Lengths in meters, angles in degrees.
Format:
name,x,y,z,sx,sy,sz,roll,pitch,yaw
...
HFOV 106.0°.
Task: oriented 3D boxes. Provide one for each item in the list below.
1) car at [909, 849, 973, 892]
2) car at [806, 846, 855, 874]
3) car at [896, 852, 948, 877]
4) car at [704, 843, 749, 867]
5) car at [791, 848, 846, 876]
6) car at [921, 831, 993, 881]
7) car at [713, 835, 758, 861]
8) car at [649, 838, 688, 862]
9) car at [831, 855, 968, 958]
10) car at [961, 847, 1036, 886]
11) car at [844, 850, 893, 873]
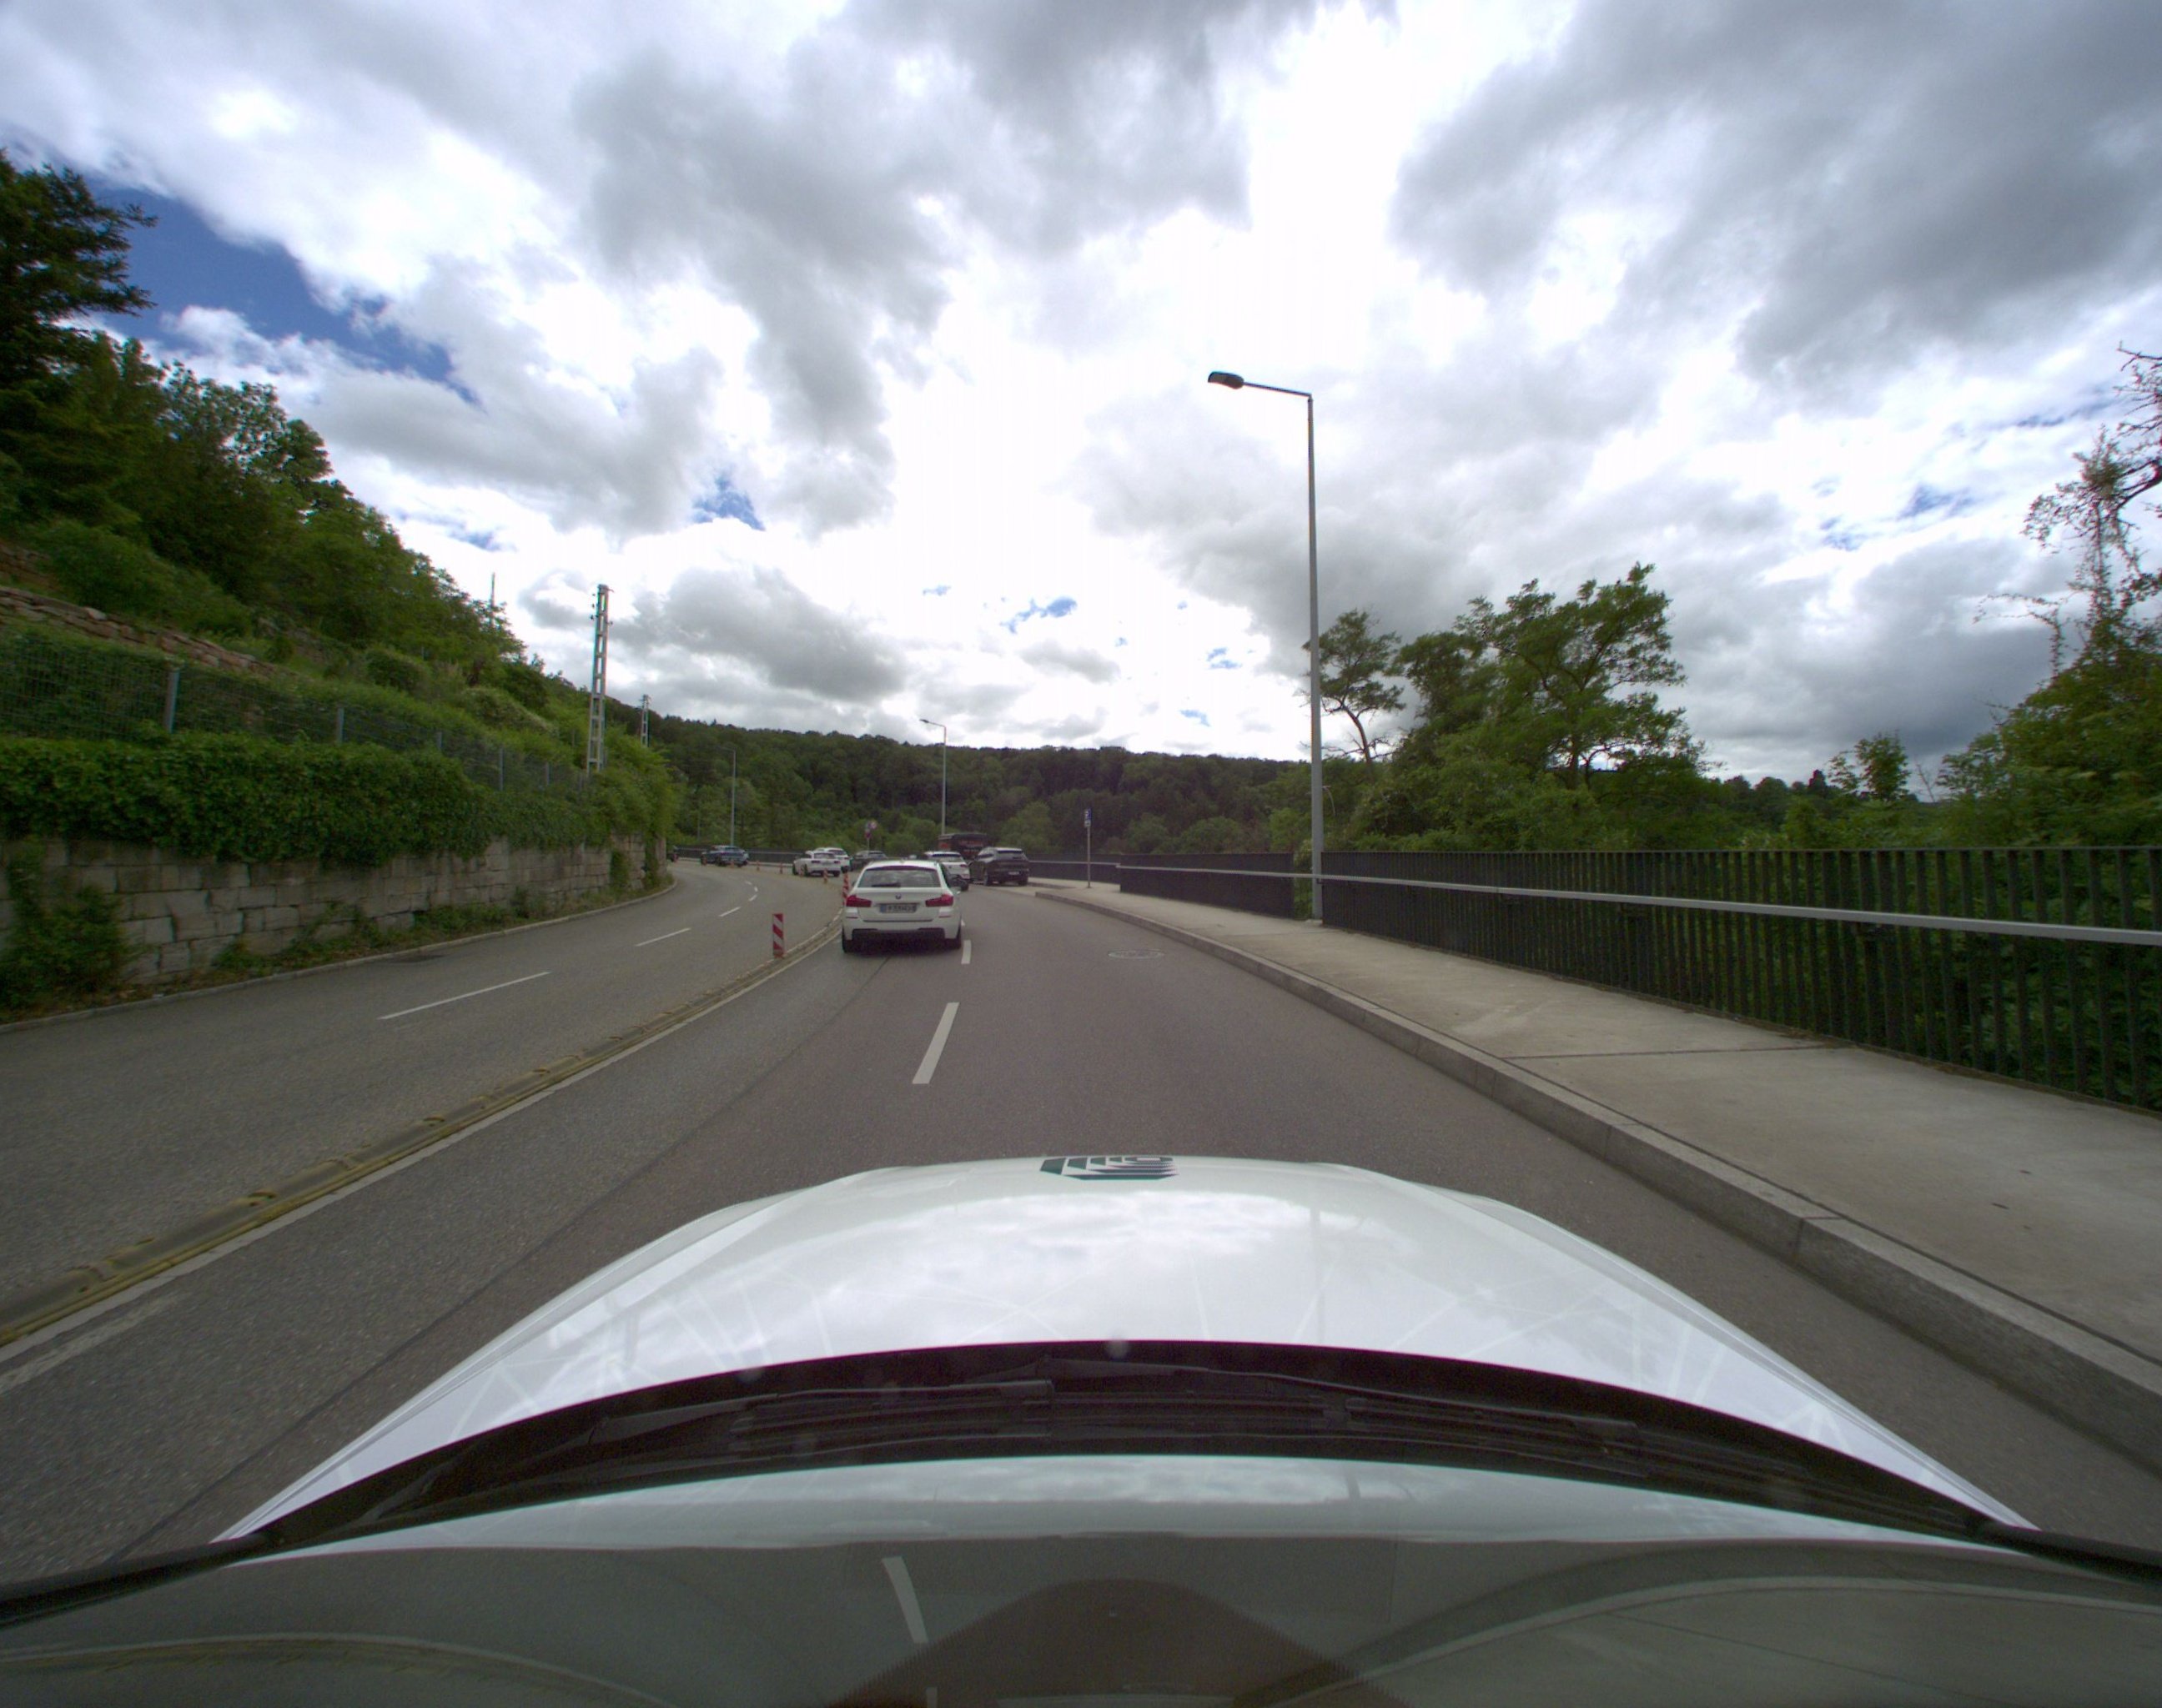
name,x,y,z,sx,sy,sz,roll,pitch,yaw
car,-5.815,0.661,33.534,1.834,1.606,3.972,-2,0,-21
car,-16.556,0.395,53.618,2.008,1.718,4.071,-2,0,-33
car,-9.705,0.624,49.495,1.727,1.431,3.809,1,0,-35
car,-25.945,0.095,59.573,2.010,1.648,3.954,-2,0,-38
car,-15.185,0.463,46.895,2.006,1.503,4.621,-2,0,-31
car,-6.886,0.058,44.651,2.179,2.521,5.719,-2,1,-27
car,-27.768,-0.431,65.411,2.011,2.014,3.951,0,-1,-44
car,-34.350,-0.333,67.785,1.886,1.762,3.951,2,-4,-43
car,-3.003,0.789,14.341,1.826,1.459,4.475,-2,0,-6
car,-3.968,0.562,38.433,2.003,1.718,5.008,-1,0,-24
car,-14.955,0.516,57.251,1.889,1.543,4.044,2,-1,-37
